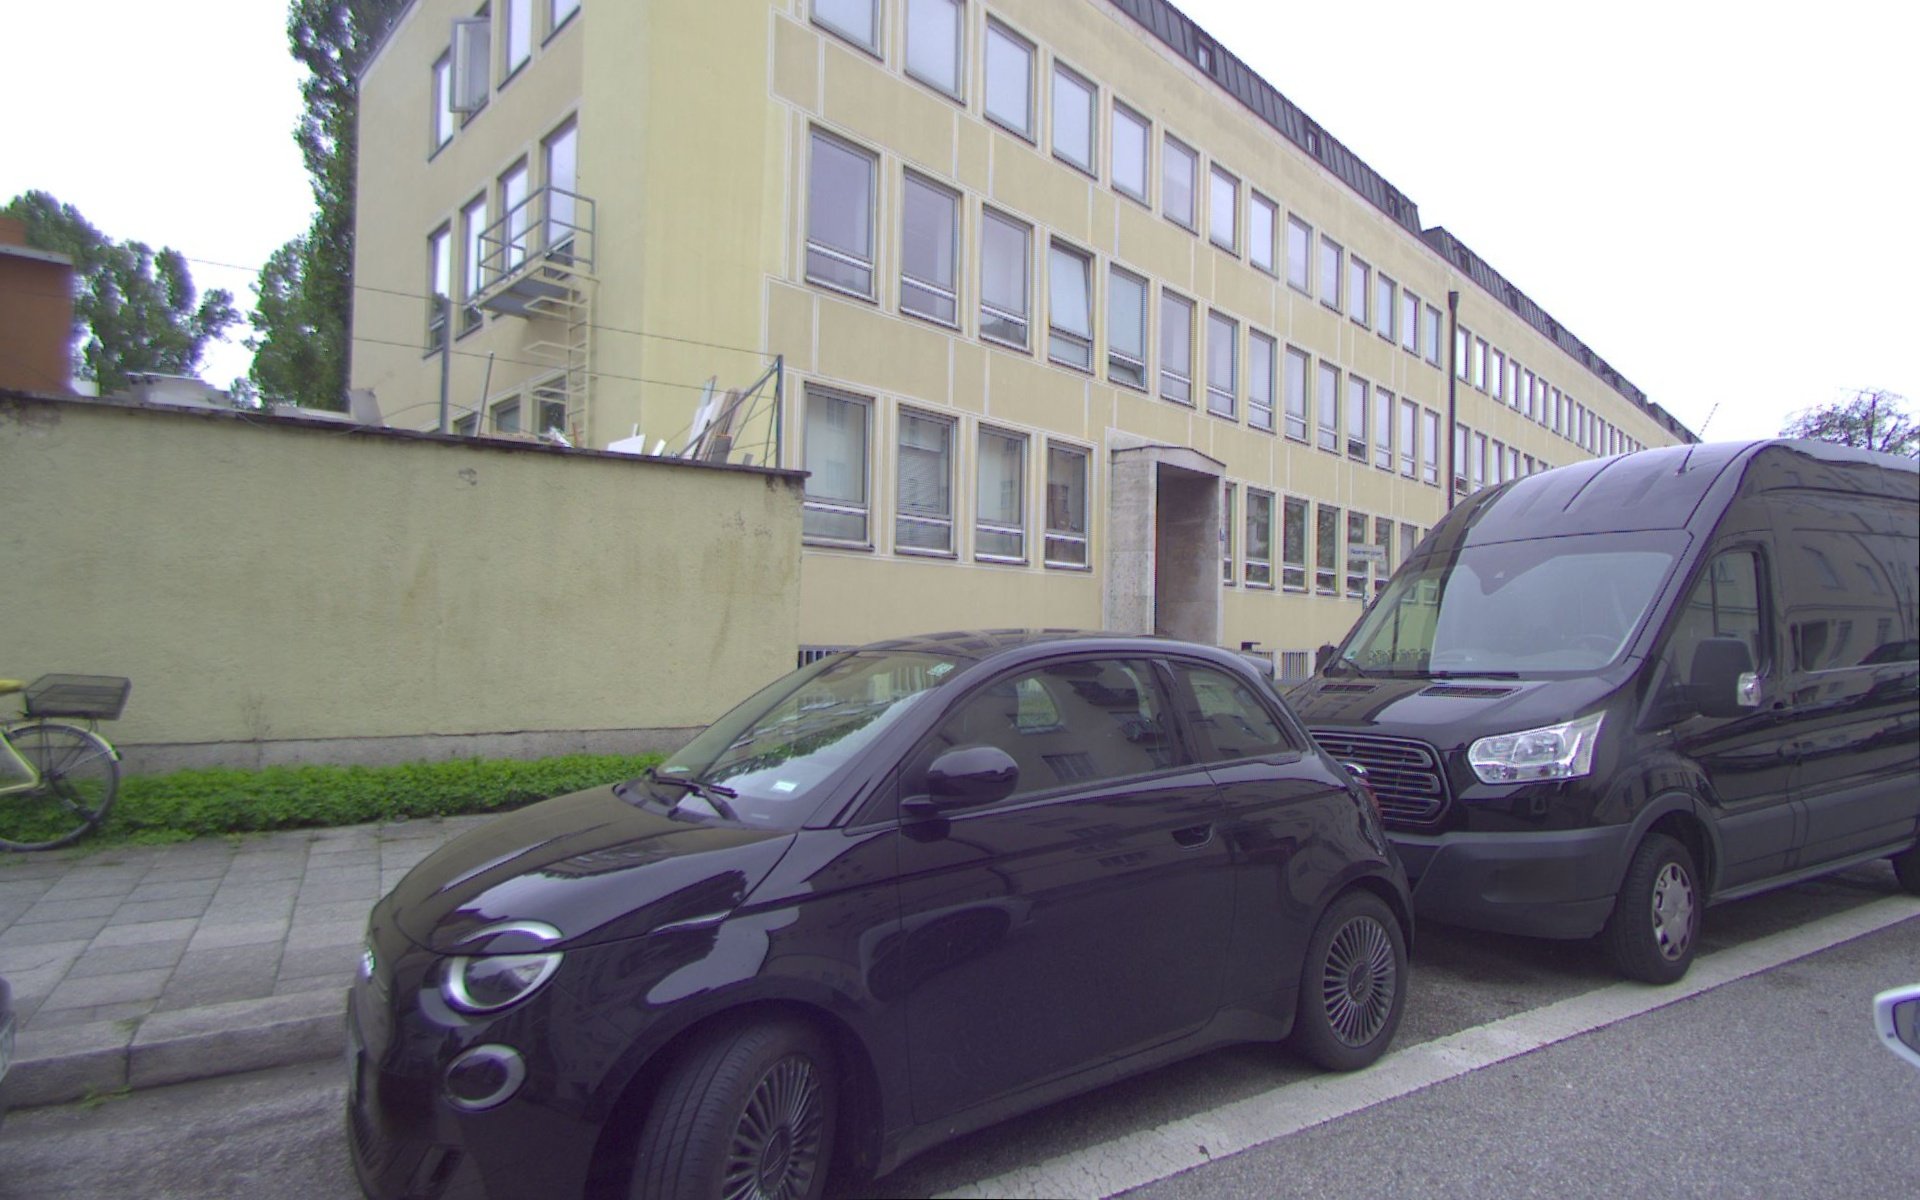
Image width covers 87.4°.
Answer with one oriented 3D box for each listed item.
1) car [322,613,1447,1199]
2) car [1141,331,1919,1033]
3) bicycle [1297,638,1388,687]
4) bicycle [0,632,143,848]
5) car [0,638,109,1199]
[{"bbox_3d":[-0.070,0.846,3.427,3.456,1.513,1.690,2,-2,-36],"label":"car"},{"bbox_3d":[4.027,0.418,6.238,5.586,2.680,2.287,2,-3,-30],"label":"car"},{"bbox_3d":[9.059,1.458,23.826,1.925,1.028,0.578,1,-1,43],"label":"bicycle"},{"bbox_3d":[-5.596,0.750,5.437,1.724,1.146,0.576,2,-2,-33],"label":"bicycle"},{"bbox_3d":[-3.905,0.749,1.305,4.027,1.443,1.683,2,-3,-33],"label":"car"}]
